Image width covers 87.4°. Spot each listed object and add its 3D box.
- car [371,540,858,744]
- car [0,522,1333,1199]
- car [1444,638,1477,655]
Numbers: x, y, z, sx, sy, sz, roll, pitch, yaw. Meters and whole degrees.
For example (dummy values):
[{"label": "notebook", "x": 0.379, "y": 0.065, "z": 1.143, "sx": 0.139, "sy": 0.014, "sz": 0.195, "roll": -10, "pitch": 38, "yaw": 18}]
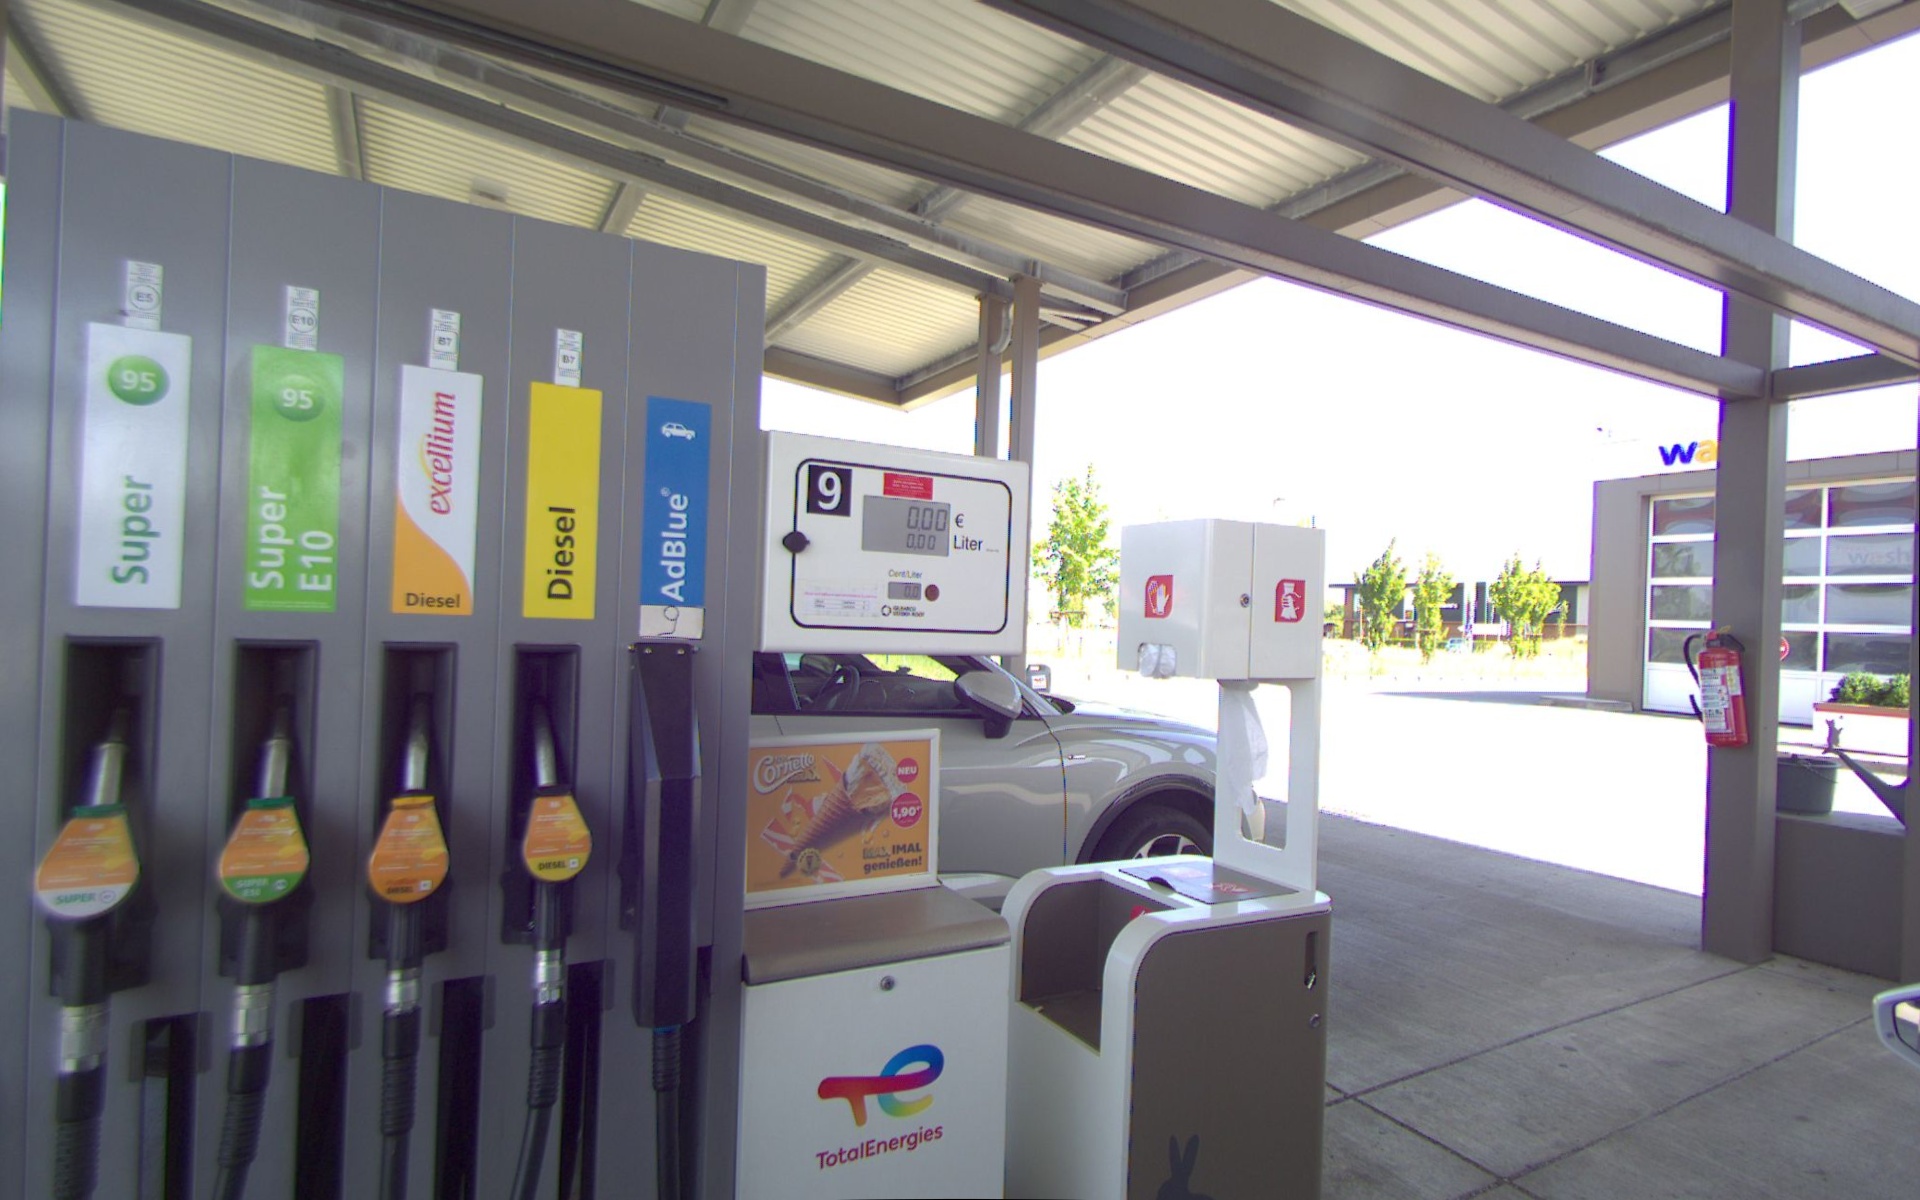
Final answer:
[{"label": "car", "x": -3.489, "y": 0.411, "z": 10.474, "sx": 4.488, "sy": 1.710, "sz": 1.848, "roll": 2, "pitch": -1, "yaw": -33}, {"label": "car", "x": -0.724, "y": 0.671, "z": 3.972, "sx": 4.273, "sy": 1.562, "sz": 1.772, "roll": 2, "pitch": -1, "yaw": -29}, {"label": "car", "x": 48.260, "y": 4.469, "z": 96.839, "sx": 1.777, "sy": 1.617, "sz": 3.978, "roll": 1, "pitch": -1, "yaw": 42}]
